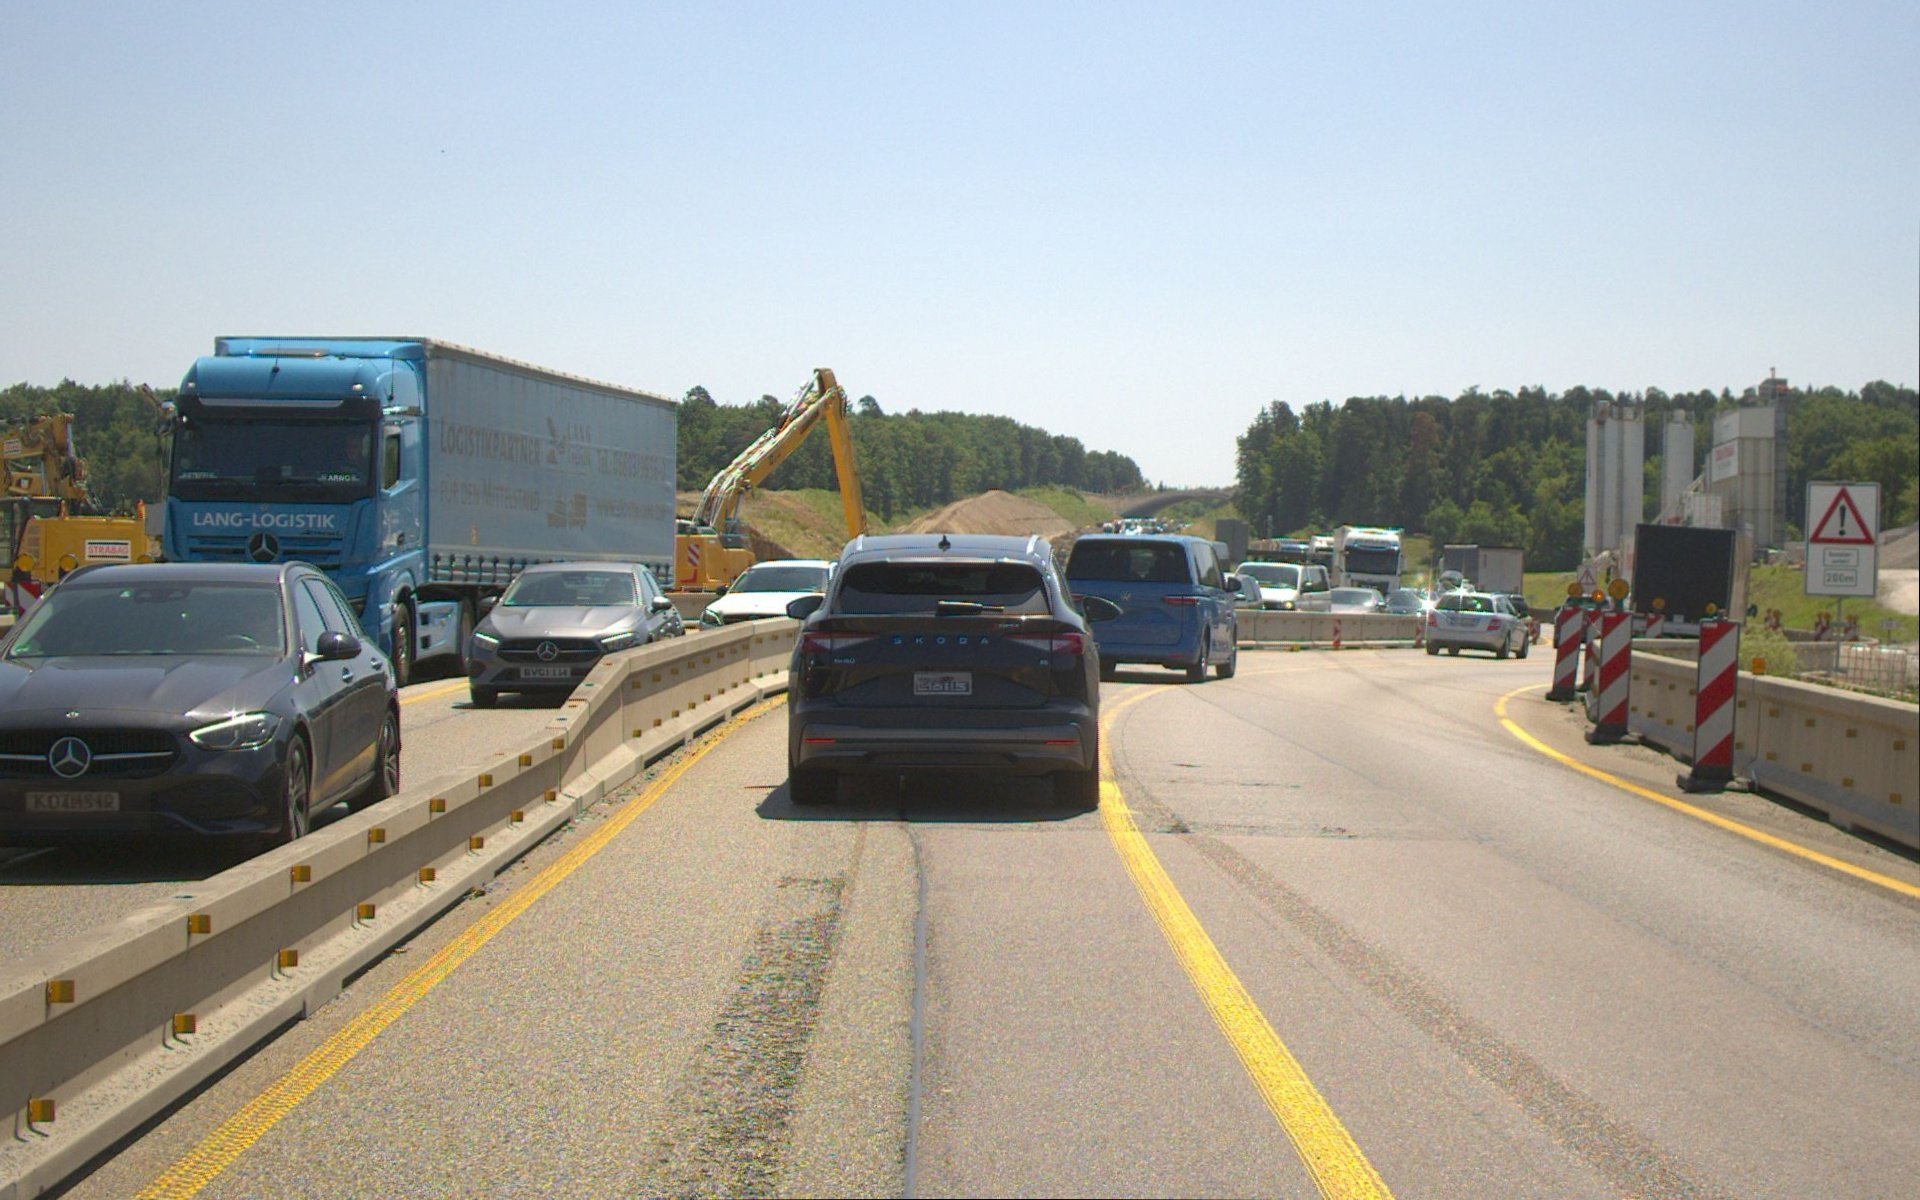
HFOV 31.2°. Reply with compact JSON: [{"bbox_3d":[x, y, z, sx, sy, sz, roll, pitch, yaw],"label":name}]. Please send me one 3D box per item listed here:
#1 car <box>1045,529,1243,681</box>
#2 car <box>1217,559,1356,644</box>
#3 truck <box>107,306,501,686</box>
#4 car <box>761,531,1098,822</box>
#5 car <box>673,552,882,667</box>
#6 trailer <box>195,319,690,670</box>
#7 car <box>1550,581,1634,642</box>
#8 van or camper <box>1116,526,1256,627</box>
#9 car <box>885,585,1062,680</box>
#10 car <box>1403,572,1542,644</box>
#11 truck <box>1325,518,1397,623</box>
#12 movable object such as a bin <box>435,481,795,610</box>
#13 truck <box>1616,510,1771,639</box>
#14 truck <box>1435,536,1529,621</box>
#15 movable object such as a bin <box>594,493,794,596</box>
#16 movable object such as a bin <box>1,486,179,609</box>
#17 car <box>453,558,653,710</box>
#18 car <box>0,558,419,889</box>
[{"bbox_3d":[2.469,0.037,45.212,1.994,1.837,3.998,2,1,11],"label":"car"},{"bbox_3d":[7.961,0.062,83.522,1.875,1.866,5.052,3,0,22],"label":"car"},{"bbox_3d":[-7.554,-1.208,40.476,2.915,4.114,6.137,0,1,6],"label":"truck"},{"bbox_3d":[-0.162,0.387,21.147,1.842,1.576,4.000,1,1,0],"label":"car"},{"bbox_3d":[-2.545,0.097,49.163,2.017,1.439,4.586,1,2,10],"label":"car"},{"bbox_3d":[-6.671,-1.414,47.478,2.915,4.114,13.912,0,1,8],"label":"trailer"},{"bbox_3d":[18.278,0.340,99.372,1.822,1.638,3.862,3,1,18],"label":"car"},{"bbox_3d":[6.008,-0.604,90.620,2.100,2.532,6.299,1,0,19],"label":"van or camper"},{"bbox_3d":[0.290,0.547,61.424,1.770,1.602,4.706,0,0,19],"label":"car"},{"bbox_3d":[11.469,0.163,76.705,2.047,1.521,5.060,1,0,20],"label":"car"},{"bbox_3d":[16.871,-1.253,144.840,2.771,4.245,6.198,2,1,6],"label":"truck"},{"bbox_3d":[-8.198,-1.311,81.213,7.922,2.424,3.710,5,1,37],"label":"movable object such as a bin"},{"bbox_3d":[17.552,-0.583,82.089,2.676,2.935,5.614,1,0,22],"label":"truck"},{"bbox_3d":[29.235,-1.282,193.066,3.476,4.206,10.377,6,2,1],"label":"truck"},{"bbox_3d":[-7.163,-1.482,93.441,3.295,2.432,5.434,5,1,20],"label":"movable object such as a bin"},{"bbox_3d":[-21.155,-1.287,83.573,2.871,2.718,3.361,3,2,-40],"label":"movable object such as a bin"},{"bbox_3d":[-4.150,0.303,35.553,1.589,1.436,4.125,0,1,0],"label":"car"},{"bbox_3d":[-4.005,0.526,17.767,1.774,1.423,4.771,-1,1,-1],"label":"car"}]
